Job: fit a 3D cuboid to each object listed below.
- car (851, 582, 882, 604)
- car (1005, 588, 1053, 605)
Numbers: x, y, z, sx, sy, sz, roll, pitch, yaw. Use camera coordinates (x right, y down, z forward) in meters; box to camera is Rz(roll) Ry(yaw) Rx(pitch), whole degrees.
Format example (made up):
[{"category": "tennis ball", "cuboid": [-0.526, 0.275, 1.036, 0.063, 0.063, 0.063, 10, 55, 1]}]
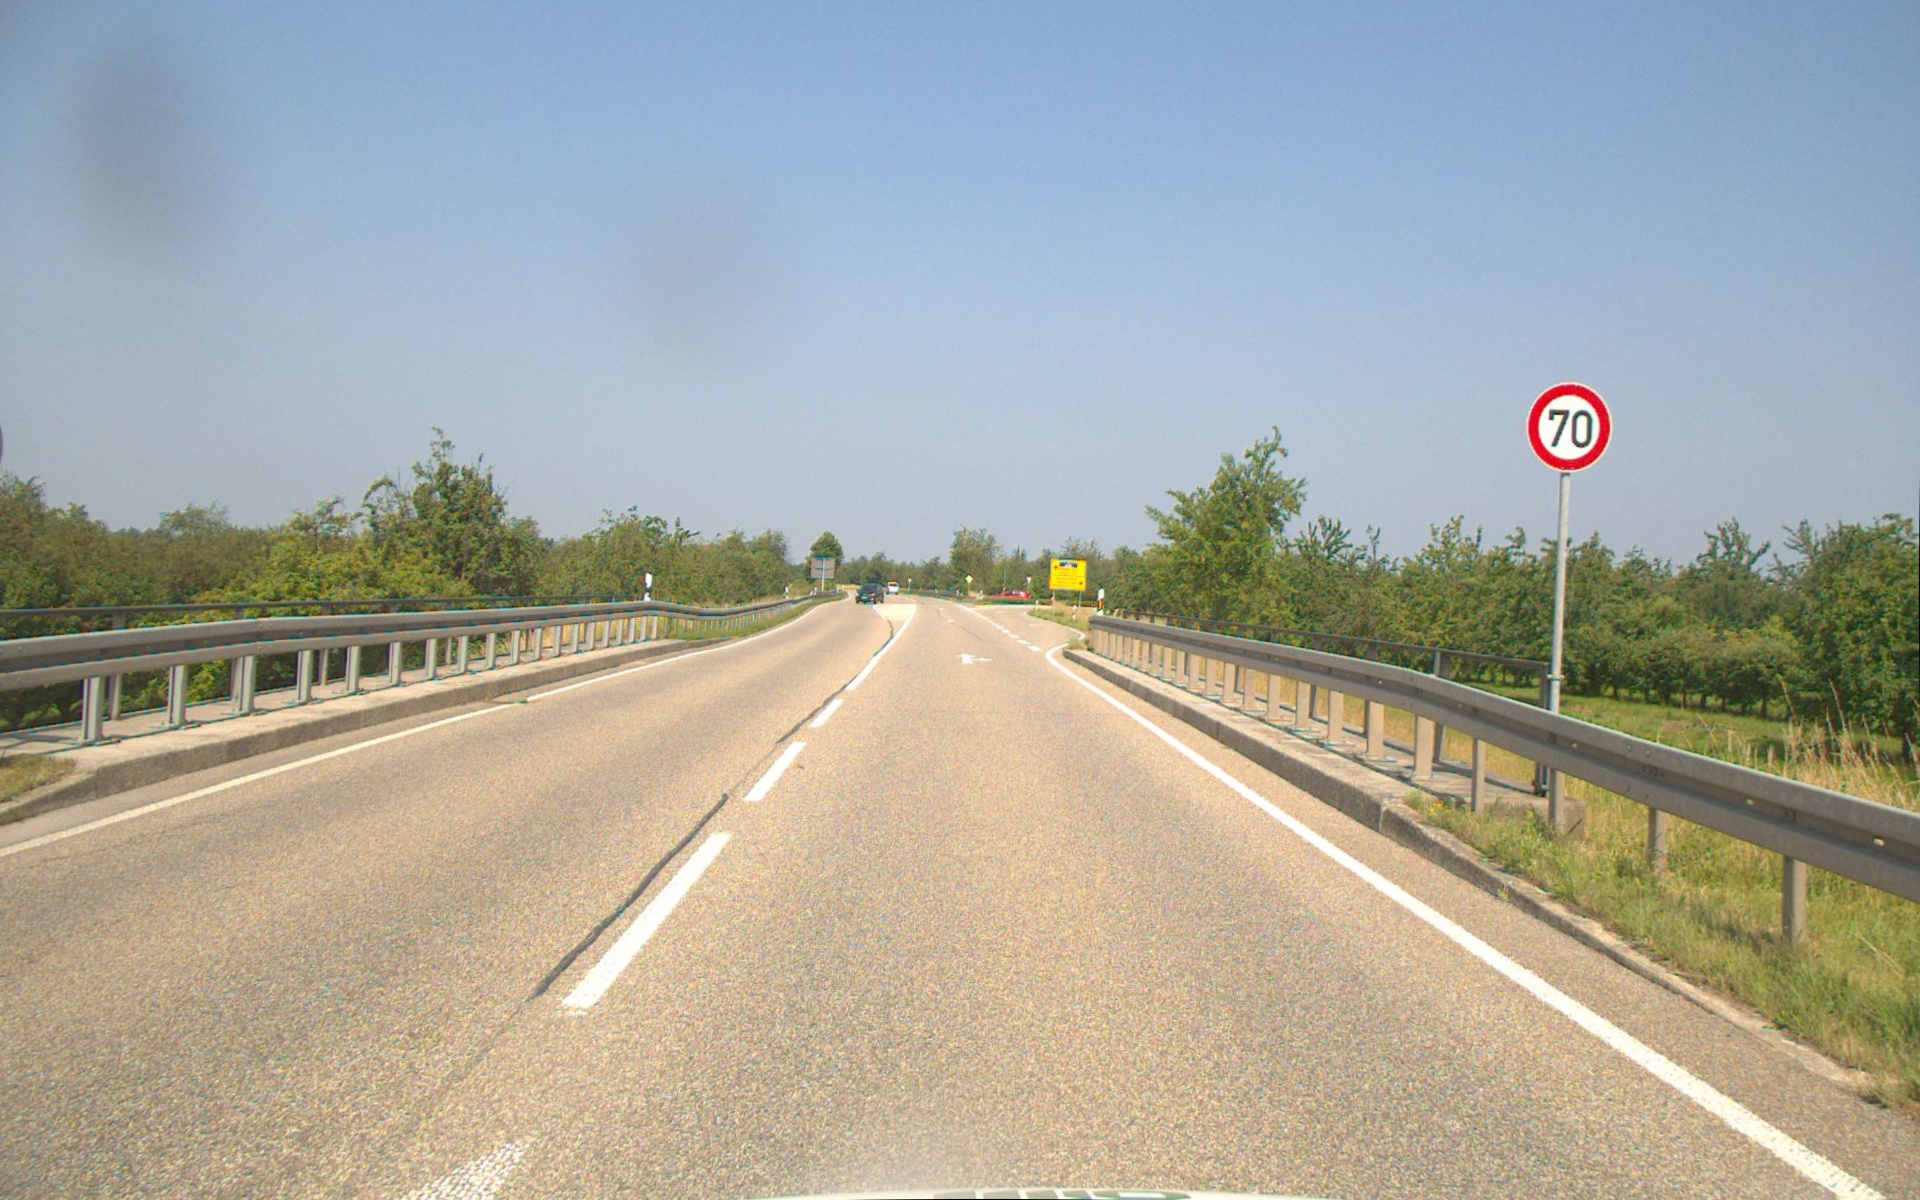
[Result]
[{"category": "car", "cuboid": [-7.738, -0.566, 137.741, 1.765, 1.666, 4.813, 1, 0, 6]}, {"category": "car", "cuboid": [6.460, -0.330, 154.973, 4.386, 1.474, 1.822, 2, 0, 5]}]
